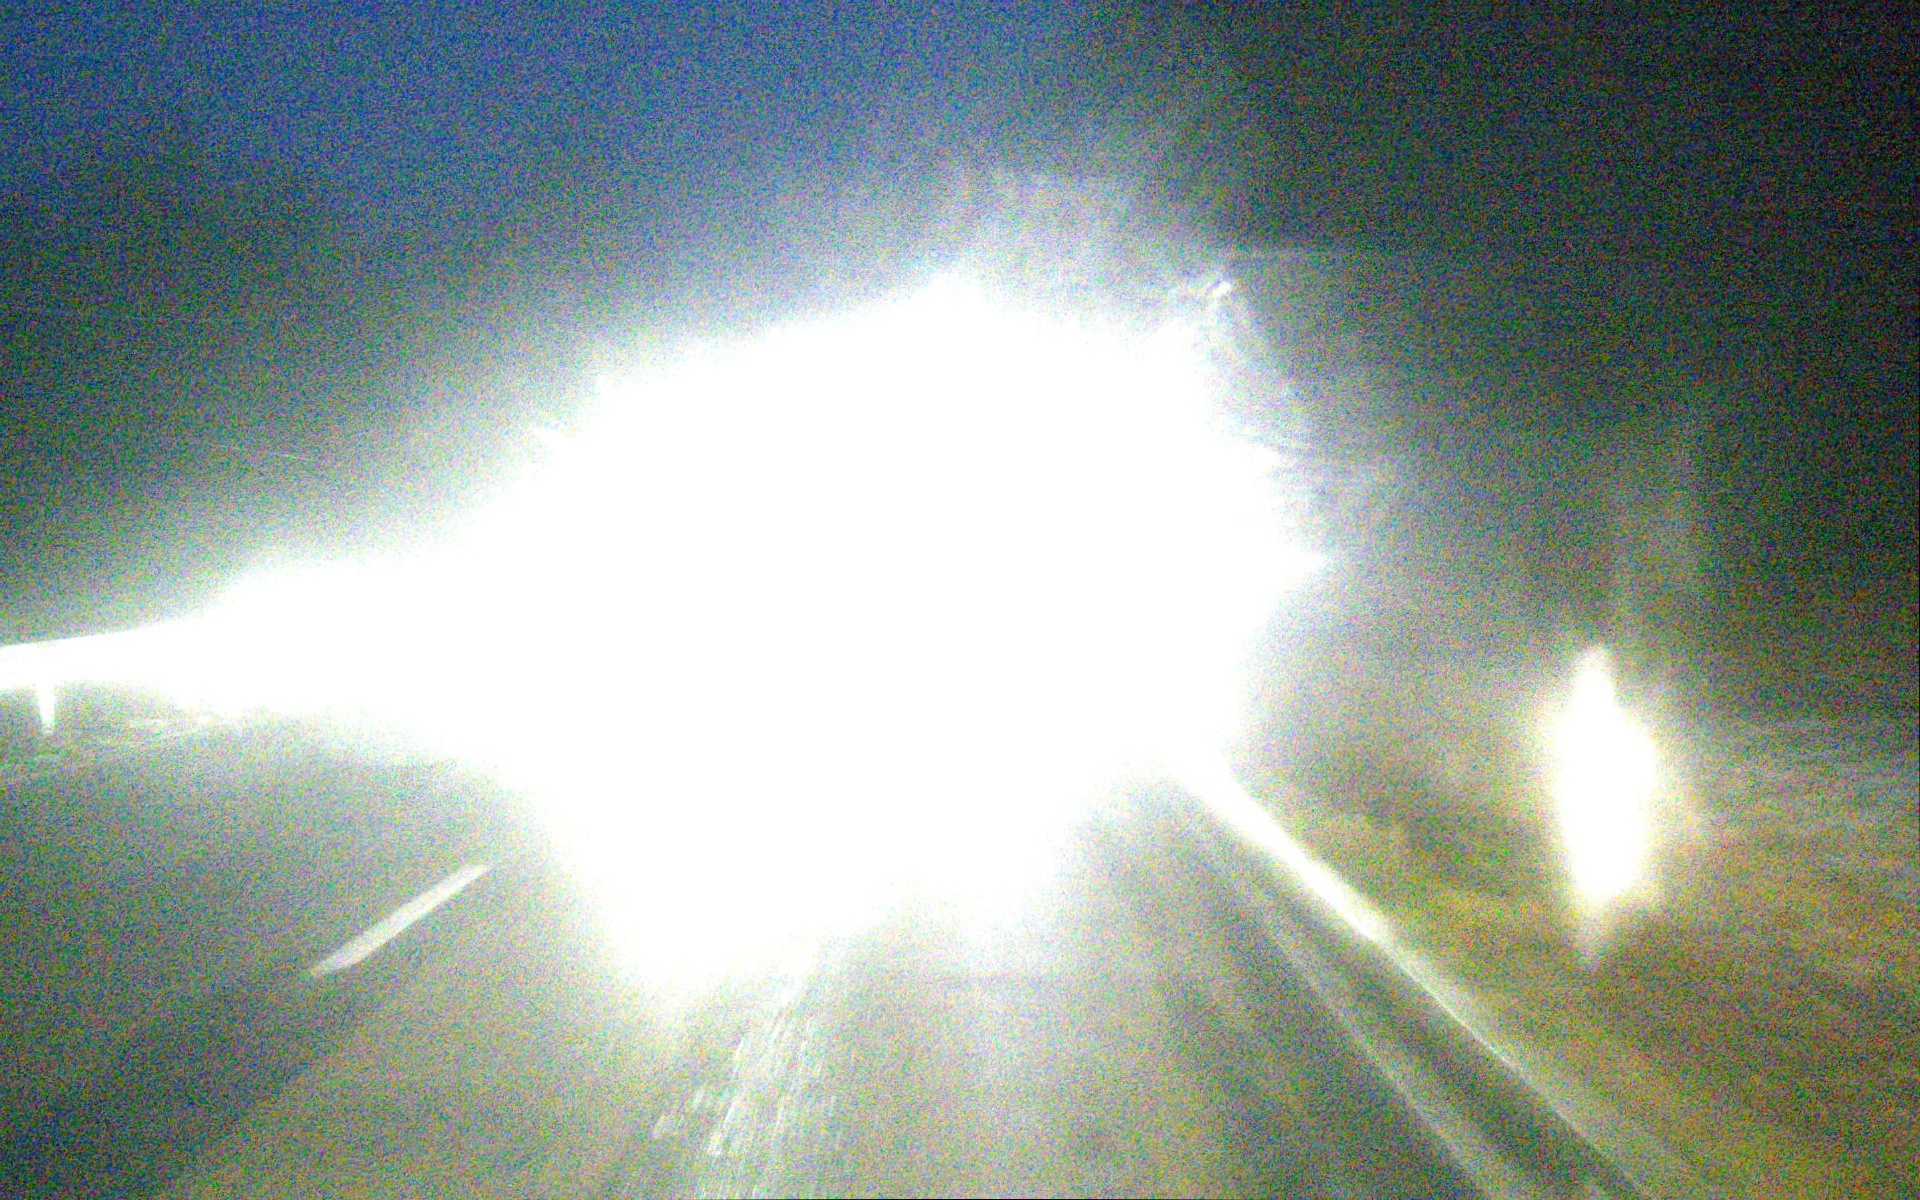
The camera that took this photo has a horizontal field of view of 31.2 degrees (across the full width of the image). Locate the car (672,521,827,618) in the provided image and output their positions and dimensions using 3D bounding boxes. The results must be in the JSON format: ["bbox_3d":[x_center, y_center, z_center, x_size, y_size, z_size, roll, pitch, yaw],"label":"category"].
[{"bbox_3d":[-3.077,-0.485,50.998,1.993,1.386,3.846,0,1,1],"label":"car"}]

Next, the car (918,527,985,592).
[{"bbox_3d":[-0.248,-1.273,106.500,1.855,1.933,4.000,-1,1,3],"label":"car"}]
